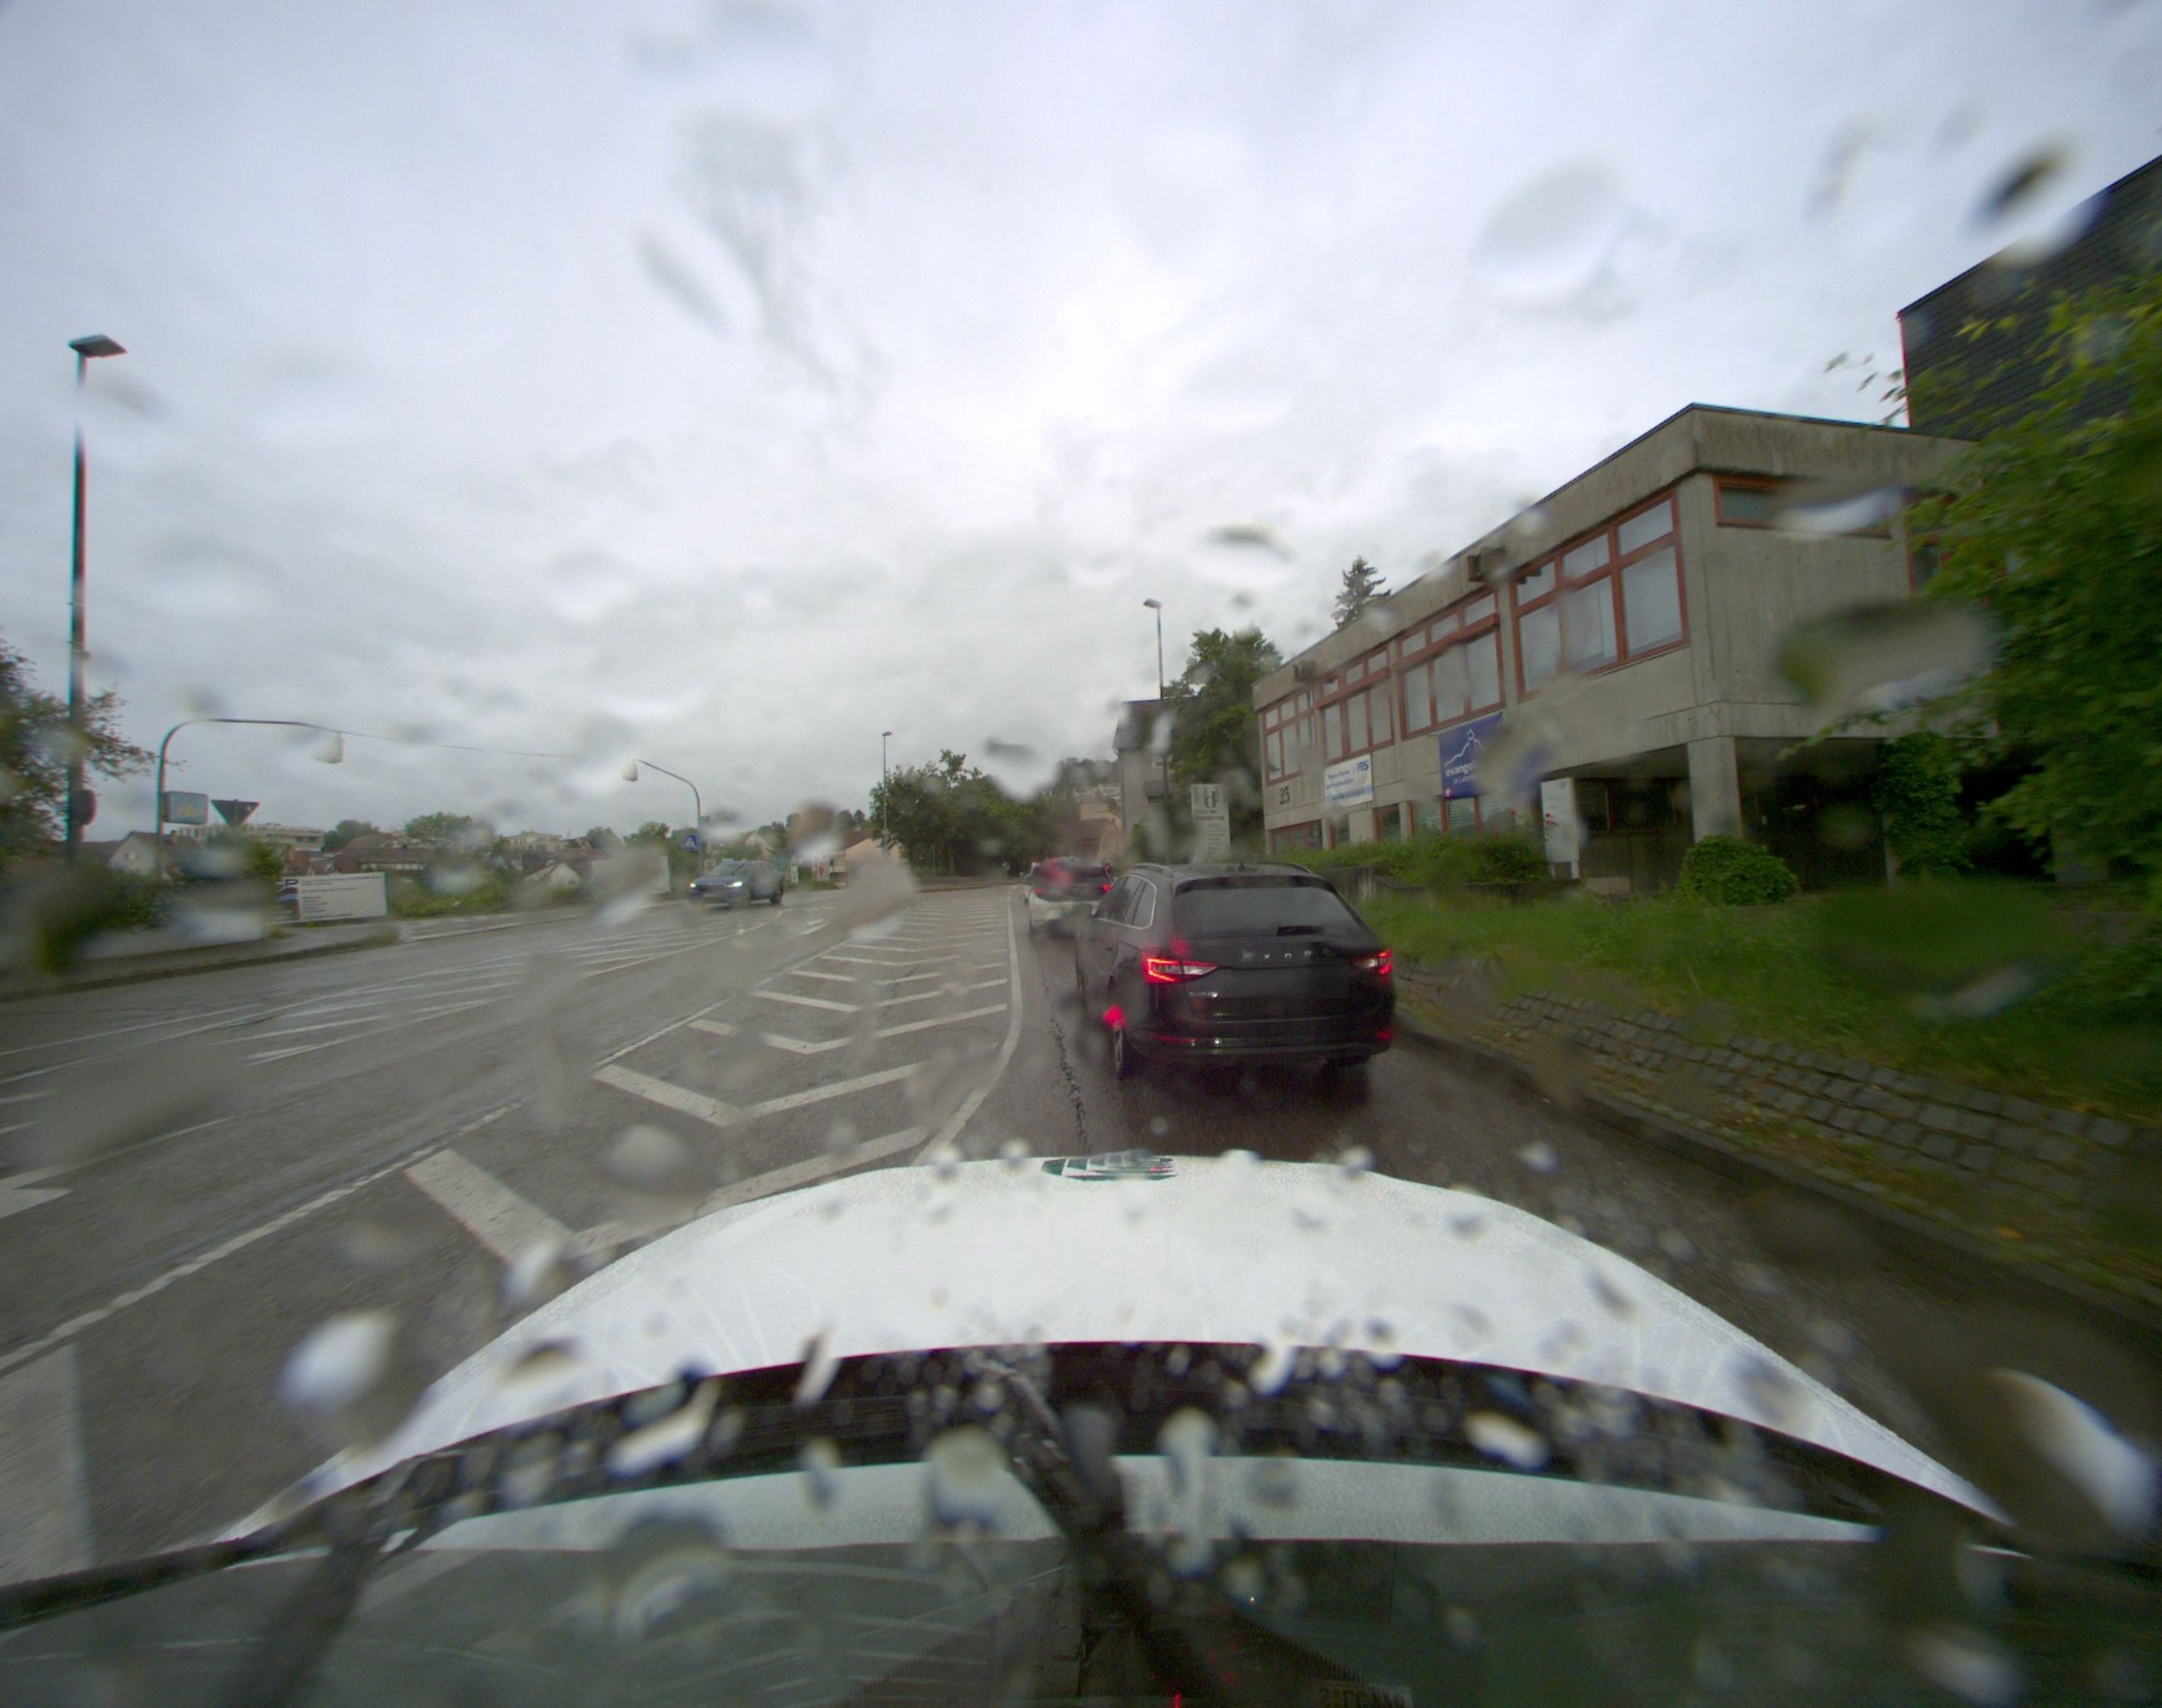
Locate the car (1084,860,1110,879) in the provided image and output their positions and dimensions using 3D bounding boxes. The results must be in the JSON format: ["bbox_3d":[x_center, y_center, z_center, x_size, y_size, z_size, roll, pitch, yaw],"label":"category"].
[{"bbox_3d":[1.369,1.331,69.378,1.985,1.453,3.774,-4,-1,3],"label":"car"}]

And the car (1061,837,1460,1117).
[{"bbox_3d":[0.965,0.727,6.784,1.951,1.507,4.599,1,-1,-5],"label":"car"}]

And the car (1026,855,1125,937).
[{"bbox_3d":[-0.136,0.834,17.286,1.823,1.500,4.166,-1,-1,-1],"label":"car"}]

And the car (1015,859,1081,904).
[{"bbox_3d":[-1.257,0.962,28.987,1.847,1.410,4.288,-1,-1,-9],"label":"car"}]

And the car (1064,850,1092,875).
[{"bbox_3d":[-0.161,0.554,53.408,1.561,1.530,4.003,-2,0,3],"label":"car"}]

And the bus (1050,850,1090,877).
[{"bbox_3d":[-1.088,0.972,85.929,2.379,2.676,7.076,-2,0,15],"label":"bus"}]

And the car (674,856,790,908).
[{"bbox_3d":[-12.358,0.998,29.246,1.986,1.693,4.707,-1,-2,2],"label":"car"}]
